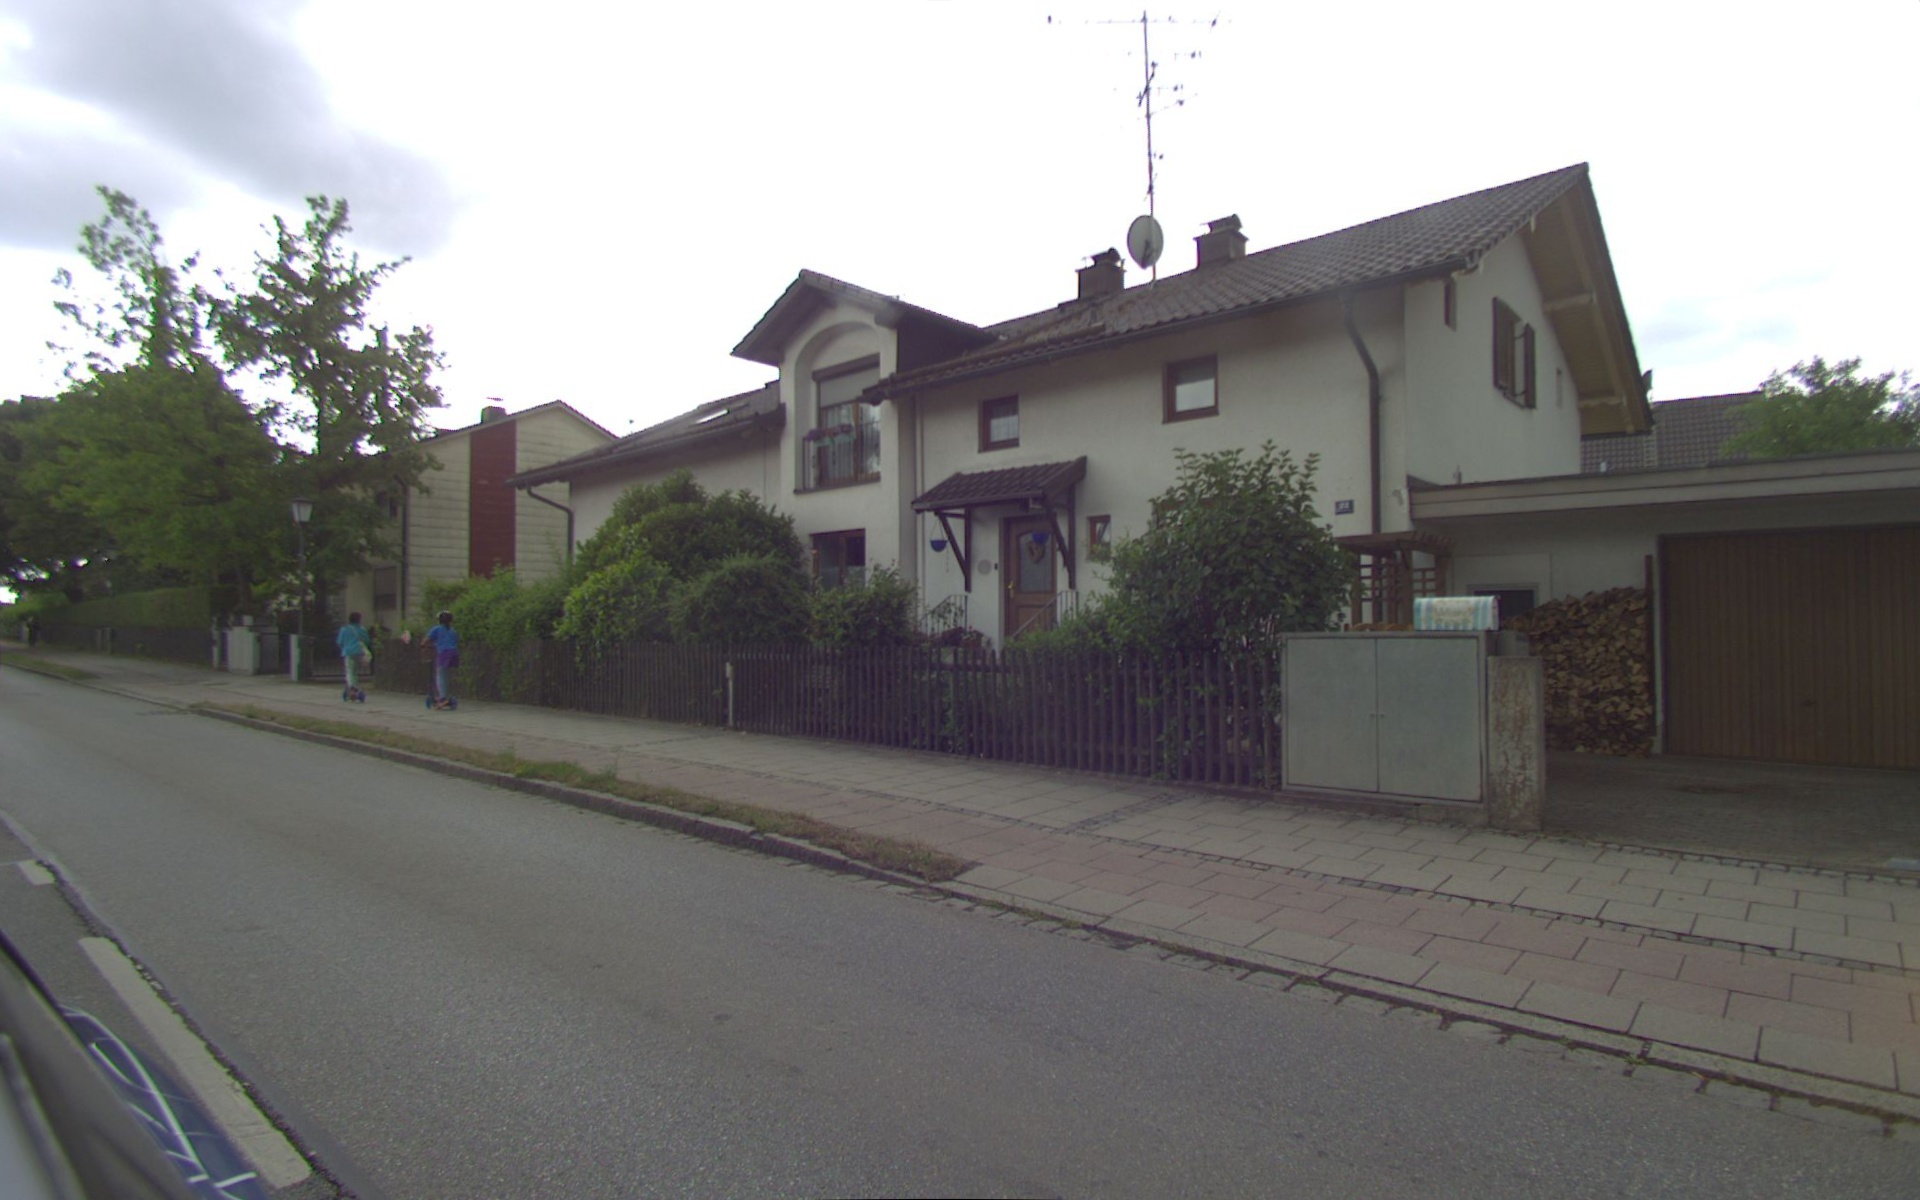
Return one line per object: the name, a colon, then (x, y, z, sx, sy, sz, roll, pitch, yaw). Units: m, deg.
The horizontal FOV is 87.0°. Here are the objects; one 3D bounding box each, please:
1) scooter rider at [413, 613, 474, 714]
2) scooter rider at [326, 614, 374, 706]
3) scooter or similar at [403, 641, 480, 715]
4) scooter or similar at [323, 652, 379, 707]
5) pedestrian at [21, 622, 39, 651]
scooter rider: (-7.780, 0.939, 15.250, 0.580, 1.484, 0.655, -2, -2, 41)
scooter rider: (-10.197, 0.983, 16.920, 0.716, 1.501, 0.497, -2, -1, 42)
scooter or similar: (-7.846, 1.153, 15.307, 1.178, 1.045, 0.654, -2, -2, 42)
scooter or similar: (-10.188, 1.314, 16.927, 1.061, 0.856, 0.516, -1, -1, 42)
pedestrian: (-48.462, 1.896, 52.714, 0.563, 1.448, 0.623, -2, -2, 41)
